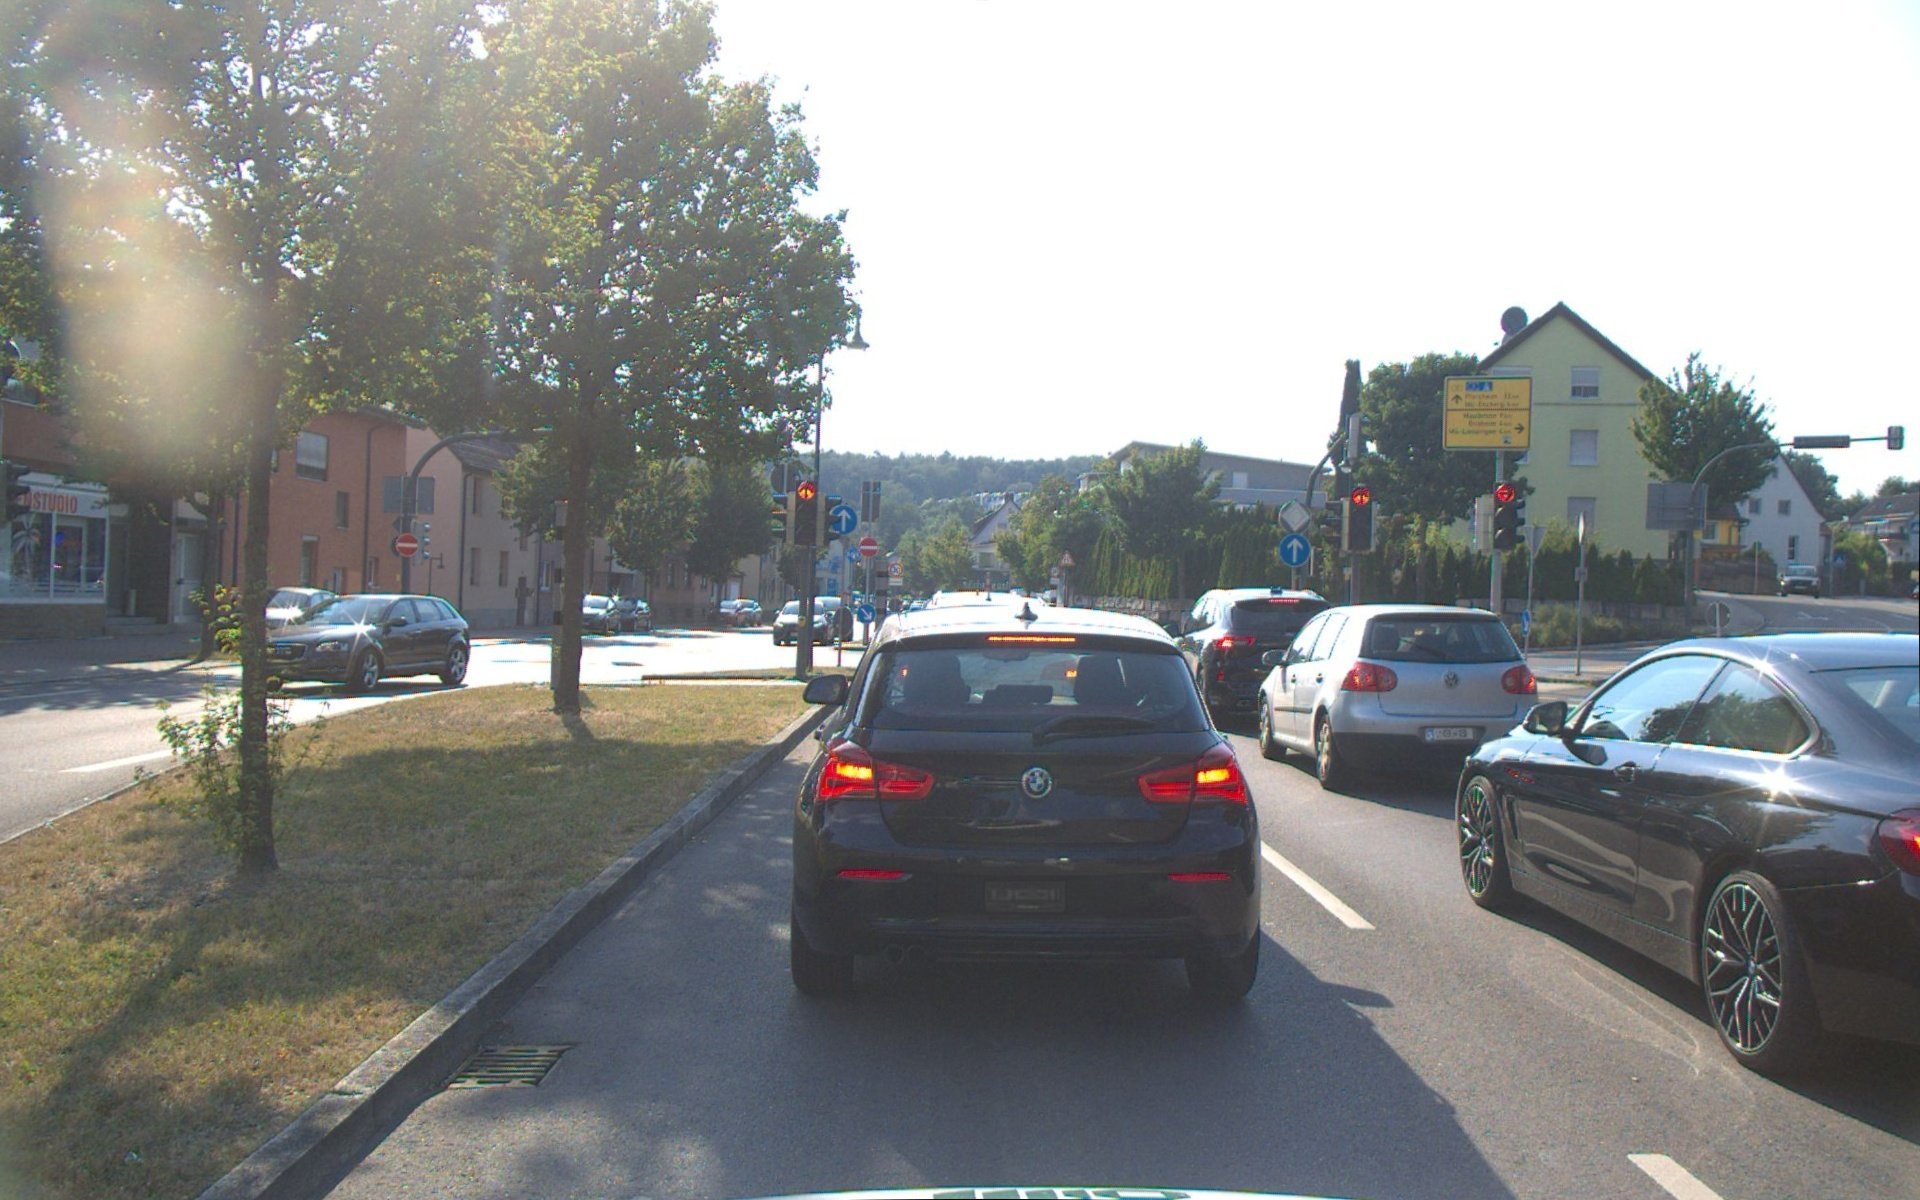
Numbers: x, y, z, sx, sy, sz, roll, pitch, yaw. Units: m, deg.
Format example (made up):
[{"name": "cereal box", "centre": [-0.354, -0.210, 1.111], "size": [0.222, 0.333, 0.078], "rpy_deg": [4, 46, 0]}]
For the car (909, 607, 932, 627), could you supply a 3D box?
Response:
[{"name": "car", "centre": [-3.350, 1.407, 140.701], "size": [1.885, 1.624, 3.999], "rpy_deg": [1, 0, -1]}]

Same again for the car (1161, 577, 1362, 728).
[{"name": "car", "centre": [3.694, 0.590, 20.985], "size": [1.779, 1.695, 4.347], "rpy_deg": [1, 0, 1]}]

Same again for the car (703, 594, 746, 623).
[{"name": "car", "centre": [-13.887, 0.498, 97.707], "size": [1.884, 1.624, 4.000], "rpy_deg": [1, 0, 1]}]

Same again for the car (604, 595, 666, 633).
[{"name": "car", "centre": [-14.306, 0.595, 72.973], "size": [1.884, 1.624, 4.000], "rpy_deg": [1, 0, 1]}]

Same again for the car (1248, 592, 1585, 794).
[{"name": "car", "centre": [3.764, 0.684, 14.435], "size": [1.779, 1.471, 4.347], "rpy_deg": [1, 0, 1]}]

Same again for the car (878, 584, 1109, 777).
[{"name": "car", "centre": [0.285, 0.618, 14.981], "size": [1.779, 1.476, 4.242], "rpy_deg": [1, 0, 1]}]

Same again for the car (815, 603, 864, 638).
[{"name": "car", "centre": [-5.057, 0.831, 69.768], "size": [1.658, 1.377, 4.000], "rpy_deg": [1, 0, 1]}]

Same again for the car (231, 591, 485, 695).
[{"name": "car", "centre": [-8.964, 0.590, 25.036], "size": [1.610, 1.411, 4.193], "rpy_deg": [1, 0, 12]}]

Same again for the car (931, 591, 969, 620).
[{"name": "car", "centre": [-0.623, 0.346, 101.281], "size": [1.854, 1.732, 4.518], "rpy_deg": [0, 0, -6]}]

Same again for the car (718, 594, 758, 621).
[{"name": "car", "centre": [-13.844, 0.478, 103.213], "size": [1.884, 1.624, 4.000], "rpy_deg": [1, 0, 1]}]

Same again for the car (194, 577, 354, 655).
[{"name": "car", "centre": [-15.632, 0.346, 37.899], "size": [1.805, 1.579, 4.001], "rpy_deg": [3, 0, 2]}]

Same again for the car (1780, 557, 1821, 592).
[{"name": "car", "centre": [41.166, -1.275, 81.013], "size": [1.751, 1.533, 4.066], "rpy_deg": [1, 4, 27]}]

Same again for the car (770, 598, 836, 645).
[{"name": "car", "centre": [-5.227, 0.681, 55.552], "size": [1.730, 1.484, 4.000], "rpy_deg": [1, 0, 1]}]

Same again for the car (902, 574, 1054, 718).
[{"name": "car", "centre": [0.242, 0.538, 21.732], "size": [1.779, 1.670, 4.242], "rpy_deg": [1, 0, 1]}]

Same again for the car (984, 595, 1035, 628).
[{"name": "car", "centre": [2.369, 0.541, 80.512], "size": [1.826, 1.511, 4.652], "rpy_deg": [1, 0, -7]}]

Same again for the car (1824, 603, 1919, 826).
[{"name": "car", "centre": [7.140, 0.775, 9.836], "size": [1.646, 1.460, 4.590], "rpy_deg": [1, 0, 1]}]

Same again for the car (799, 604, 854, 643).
[{"name": "car", "centre": [-5.015, 0.859, 62.665], "size": [1.658, 1.377, 4.000], "rpy_deg": [1, 0, 1]}]

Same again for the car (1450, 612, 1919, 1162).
[{"name": "car", "centre": [3.459, 0.789, 6.555], "size": [1.779, 1.413, 4.347], "rpy_deg": [1, 0, 1]}]

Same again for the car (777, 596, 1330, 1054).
[{"name": "car", "centre": [0.328, 0.715, 7.480], "size": [1.754, 1.439, 4.347], "rpy_deg": [1, 0, 1]}]

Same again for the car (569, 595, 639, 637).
[{"name": "car", "centre": [-14.427, 0.632, 67.186], "size": [1.884, 1.624, 4.000], "rpy_deg": [1, 0, 1]}]
